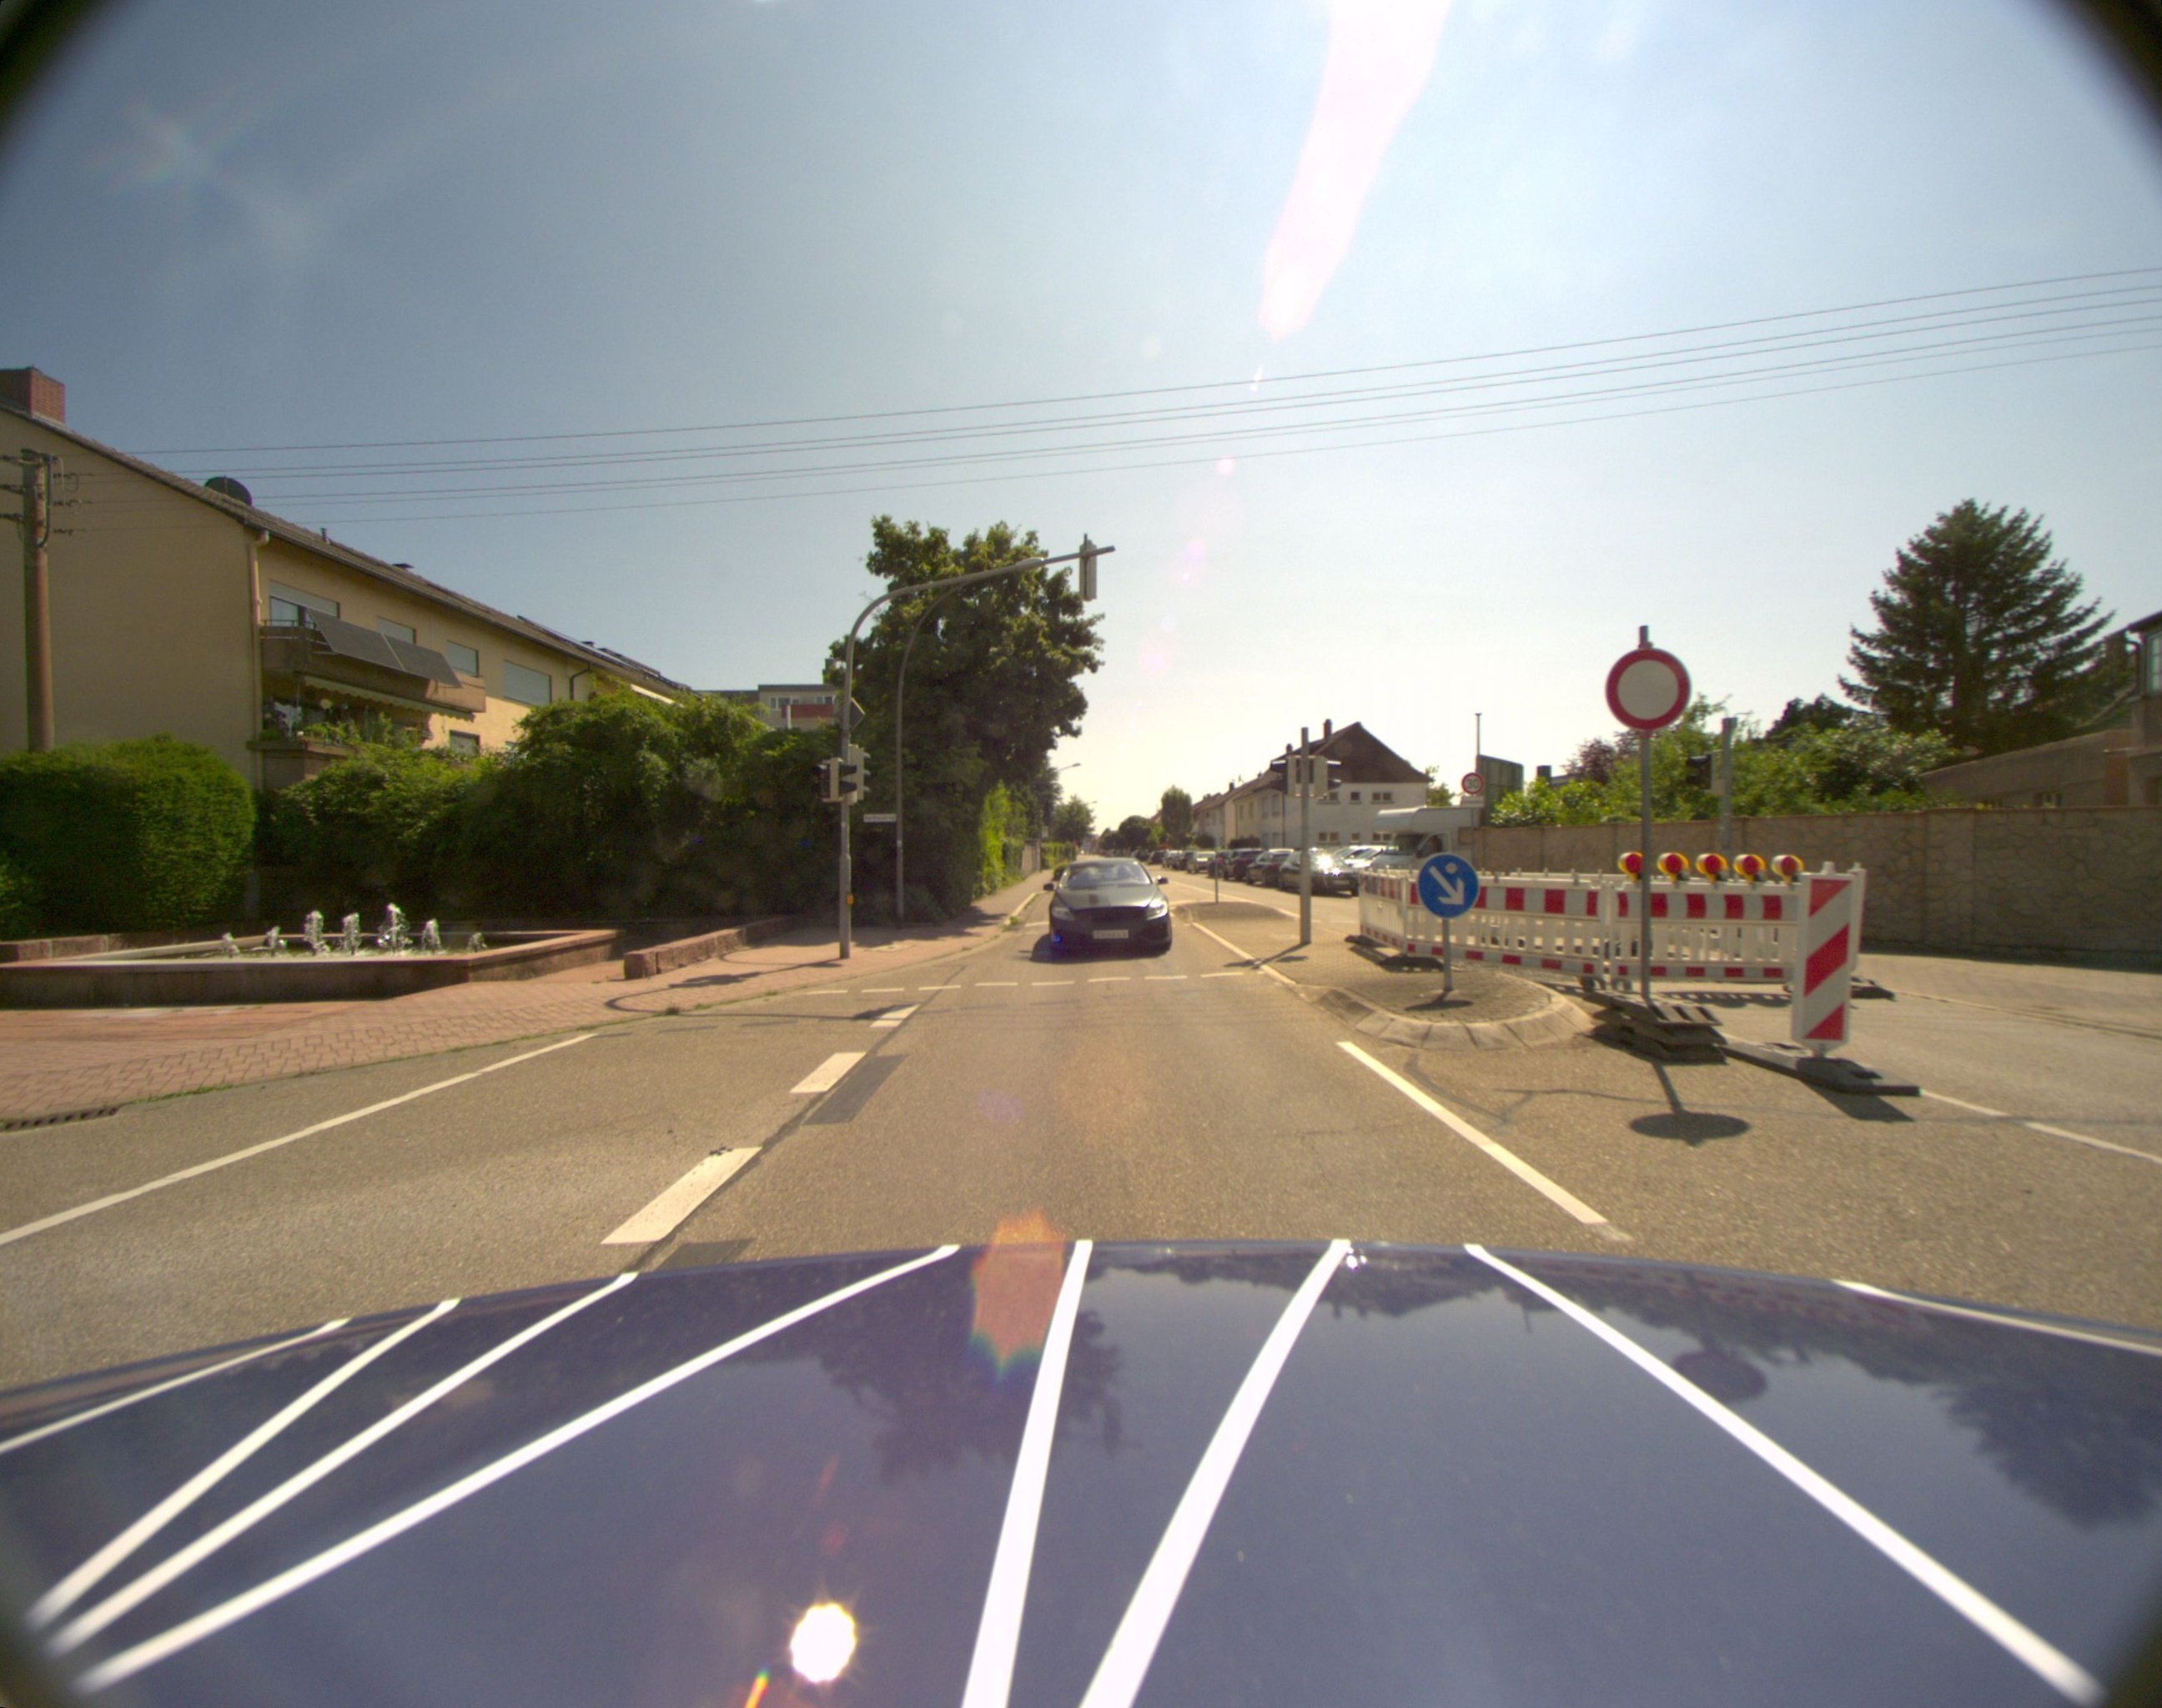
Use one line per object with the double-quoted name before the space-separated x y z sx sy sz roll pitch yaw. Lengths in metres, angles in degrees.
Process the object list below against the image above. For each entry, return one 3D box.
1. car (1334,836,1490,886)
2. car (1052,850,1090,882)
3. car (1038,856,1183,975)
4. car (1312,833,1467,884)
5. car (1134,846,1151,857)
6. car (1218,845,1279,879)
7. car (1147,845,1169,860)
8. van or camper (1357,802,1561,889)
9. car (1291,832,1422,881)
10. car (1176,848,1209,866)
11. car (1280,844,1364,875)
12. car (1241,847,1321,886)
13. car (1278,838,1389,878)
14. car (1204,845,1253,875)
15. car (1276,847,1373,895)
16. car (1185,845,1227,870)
"car" 12.557 0.244 28.962 5.116 1.758 2.130 -1 1 -10
"car" -0.597 0.607 41.448 1.872 1.586 4.614 -1 1 -3
"car" 0.393 0.856 12.856 1.889 1.429 4.837 -4 1 0
"car" 12.965 0.146 32.119 5.782 1.990 2.130 -1 1 -8
"car" 8.009 -0.389 99.242 1.739 1.409 3.915 -1 1 -3
"car" 8.220 0.354 37.705 1.863 1.581 4.227 1 1 -3
"car" 8.014 -0.148 79.651 1.739 1.504 3.915 -1 1 -3
"van or camper" 13.175 -0.324 26.621 6.263 2.828 2.288 -1 1 -10
"car" 12.465 0.084 34.607 5.180 2.076 2.211 -1 1 -8
"car" 8.452 0.202 57.784 1.739 1.310 3.915 1 1 -3
"car" 13.189 0.272 41.633 3.999 1.607 1.767 -1 1 -7
"car" 8.243 0.454 31.818 1.953 1.491 4.507 1 1 -3
"car" 12.272 0.171 37.102 4.777 1.853 1.999 -1 1 -6
"car" 8.257 0.306 42.897 1.863 1.539 4.176 1 1 -1
"car" 8.312 0.514 26.401 1.952 1.491 4.508 1 1 1
"car" 8.212 0.191 50.279 1.863 1.539 4.543 1 1 -3
